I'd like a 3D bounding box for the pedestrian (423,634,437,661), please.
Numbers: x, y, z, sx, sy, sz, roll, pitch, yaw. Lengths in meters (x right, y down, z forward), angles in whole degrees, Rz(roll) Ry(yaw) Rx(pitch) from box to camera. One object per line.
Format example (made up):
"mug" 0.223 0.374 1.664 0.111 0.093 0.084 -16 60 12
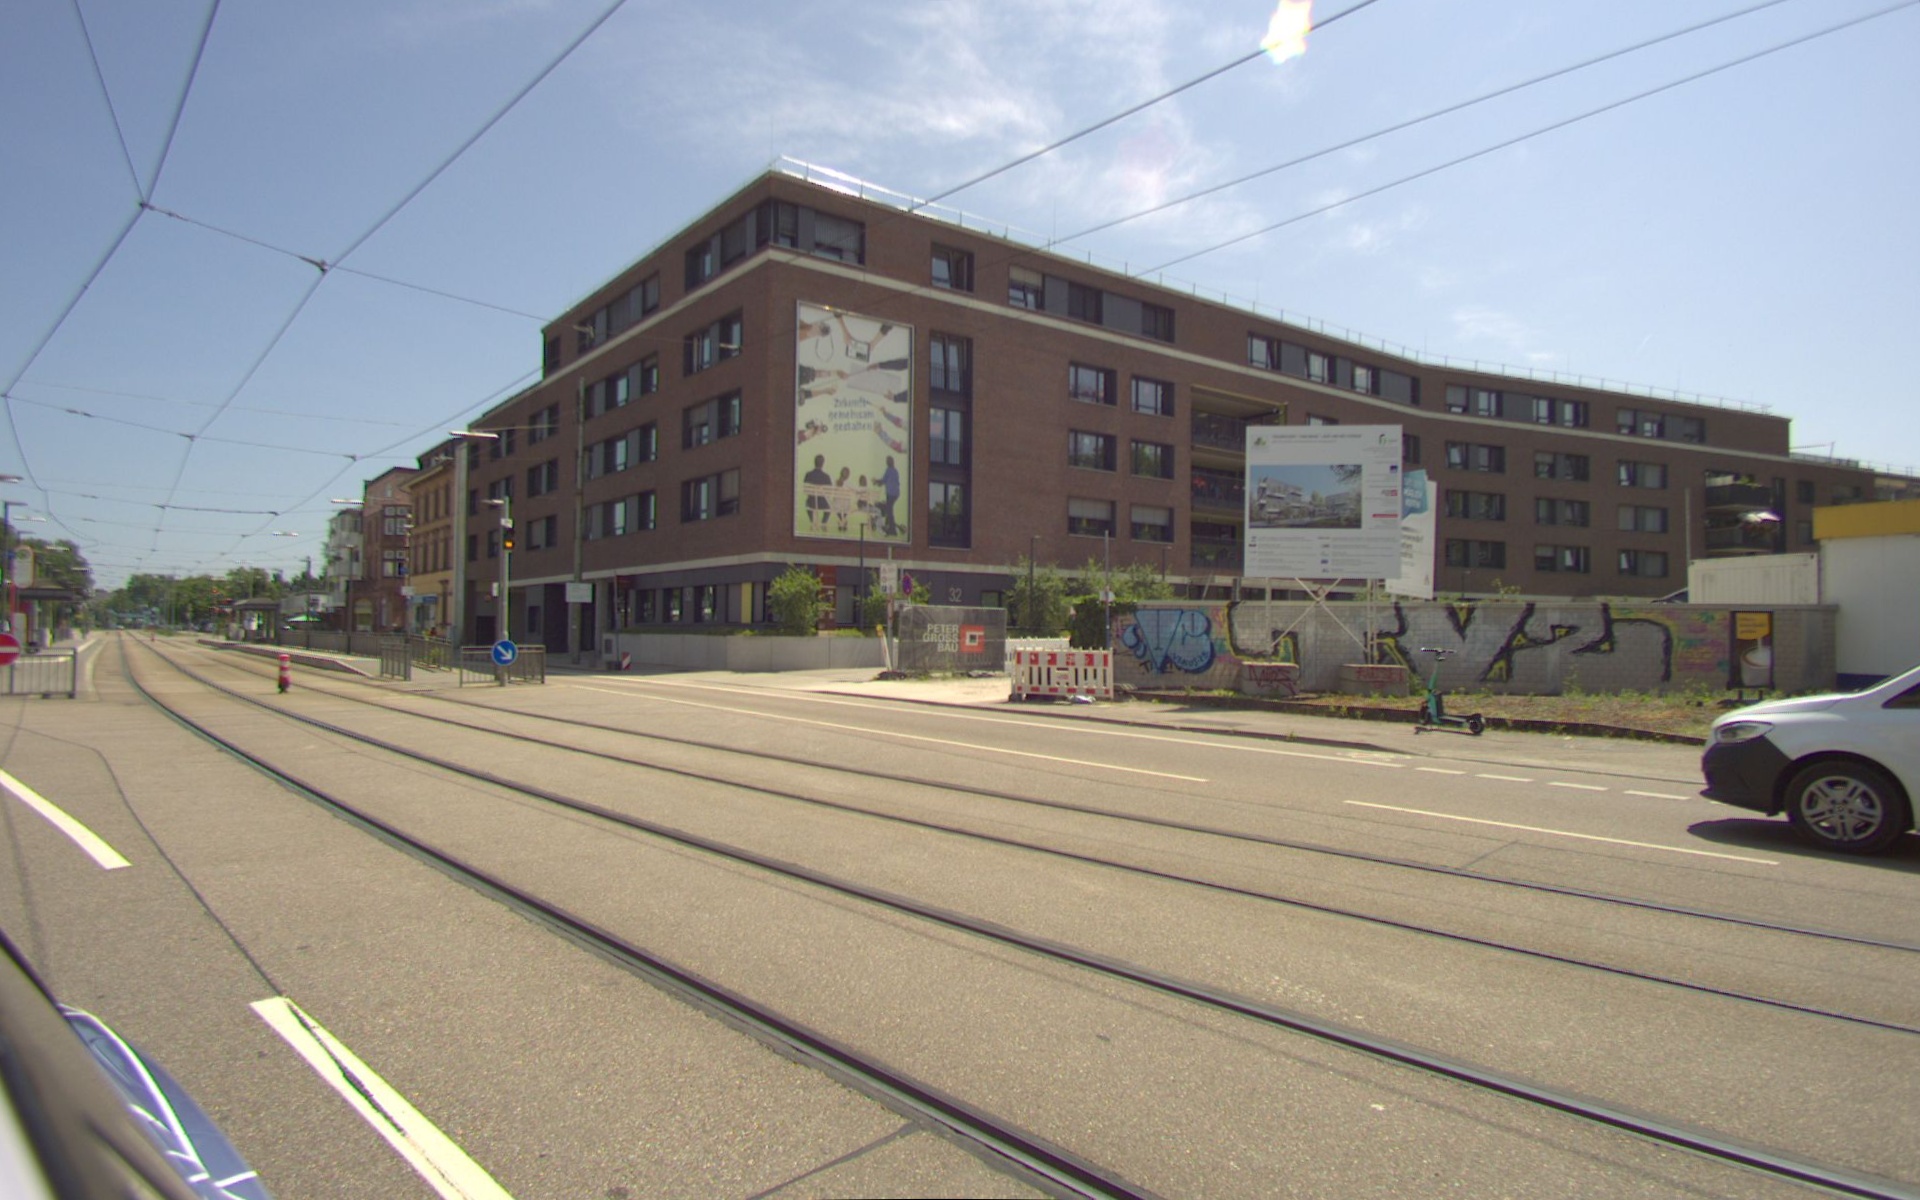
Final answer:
"pedestrian" -32.515 2.901 62.069 0.596 1.608 0.716 2 -3 -42

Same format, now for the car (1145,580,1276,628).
"car" 8.155 0.177 33.227 1.708 1.479 4.009 1 -2 -36

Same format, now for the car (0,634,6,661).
"car" -58.830 2.866 61.065 4.489 1.567 1.724 -2 -2 45

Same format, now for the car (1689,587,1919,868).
"car" 7.628 0.848 6.381 1.968 1.813 4.560 4 -4 -39

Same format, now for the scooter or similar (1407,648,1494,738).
"scooter or similar" 7.394 1.382 15.307 0.340 1.274 1.246 0 -1 -23
